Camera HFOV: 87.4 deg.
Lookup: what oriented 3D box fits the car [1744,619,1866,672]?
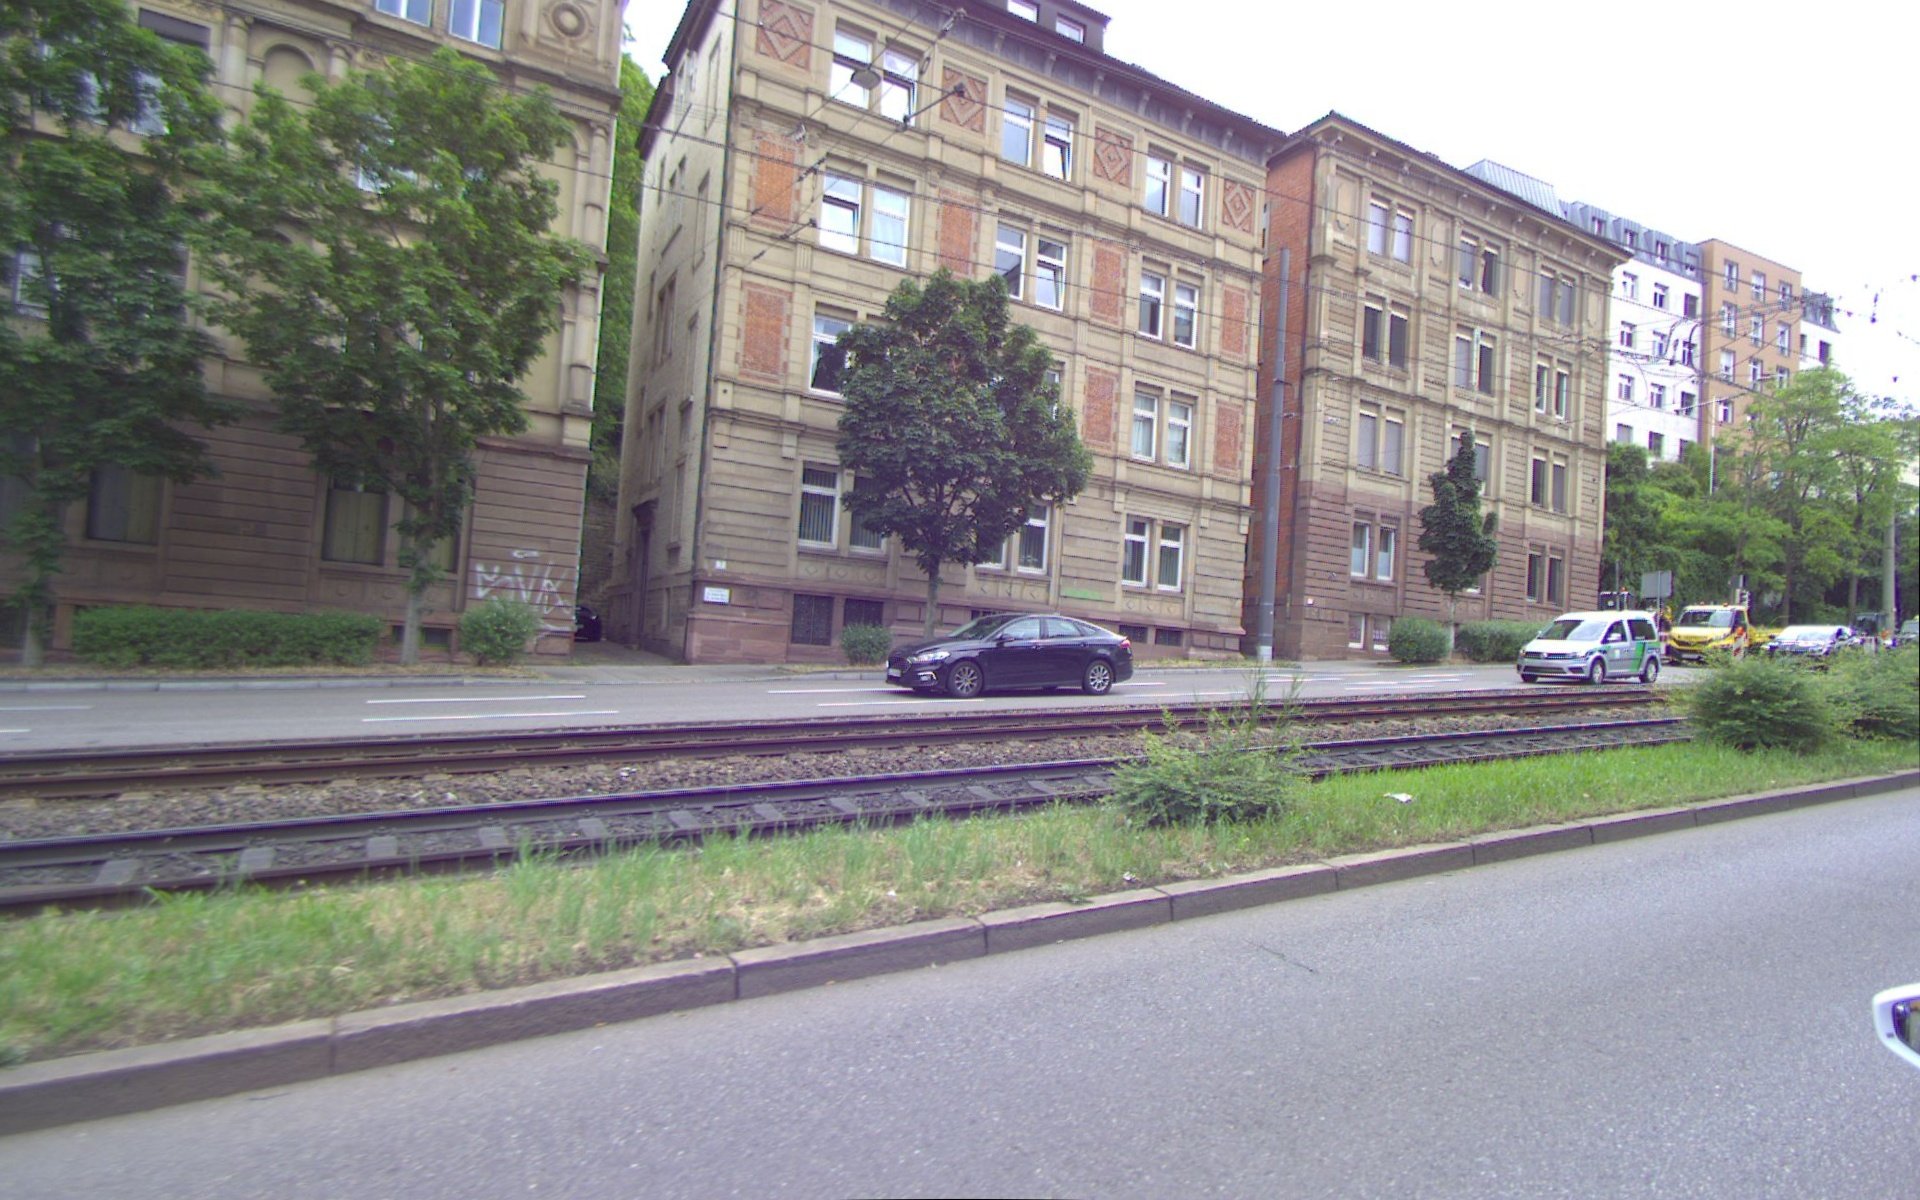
[{"bbox_3d":[27.791,1.507,33.010,4.390,1.575,1.854,3,-1,-33],"label":"car"}]

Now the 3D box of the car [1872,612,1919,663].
[{"bbox_3d":[38.140,1.511,39.835,4.595,1.901,1.887,2,0,-34],"label":"car"}]

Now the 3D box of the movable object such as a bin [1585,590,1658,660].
[{"bbox_3d":[28.000,1.081,42.521,2.009,2.875,1.981,2,-2,-35],"label":"movable object such as a bin"}]

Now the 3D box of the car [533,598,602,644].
[{"bbox_3d":[-13.807,0.739,35.208,1.831,1.472,3.972,2,-2,-27],"label":"car"}]

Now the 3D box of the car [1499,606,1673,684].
[{"bbox_3d":[15.791,1.140,25.285,4.464,1.811,1.870,2,-3,-31],"label":"car"}]

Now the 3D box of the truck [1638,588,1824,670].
[{"bbox_3d":[28.858,1.109,37.541,7.070,2.543,2.904,4,0,-30],"label":"truck"}]

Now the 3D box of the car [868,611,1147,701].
[{"bbox_3d":[0.916,0.966,18.344,4.885,1.469,1.811,1,-1,-29],"label":"car"}]
